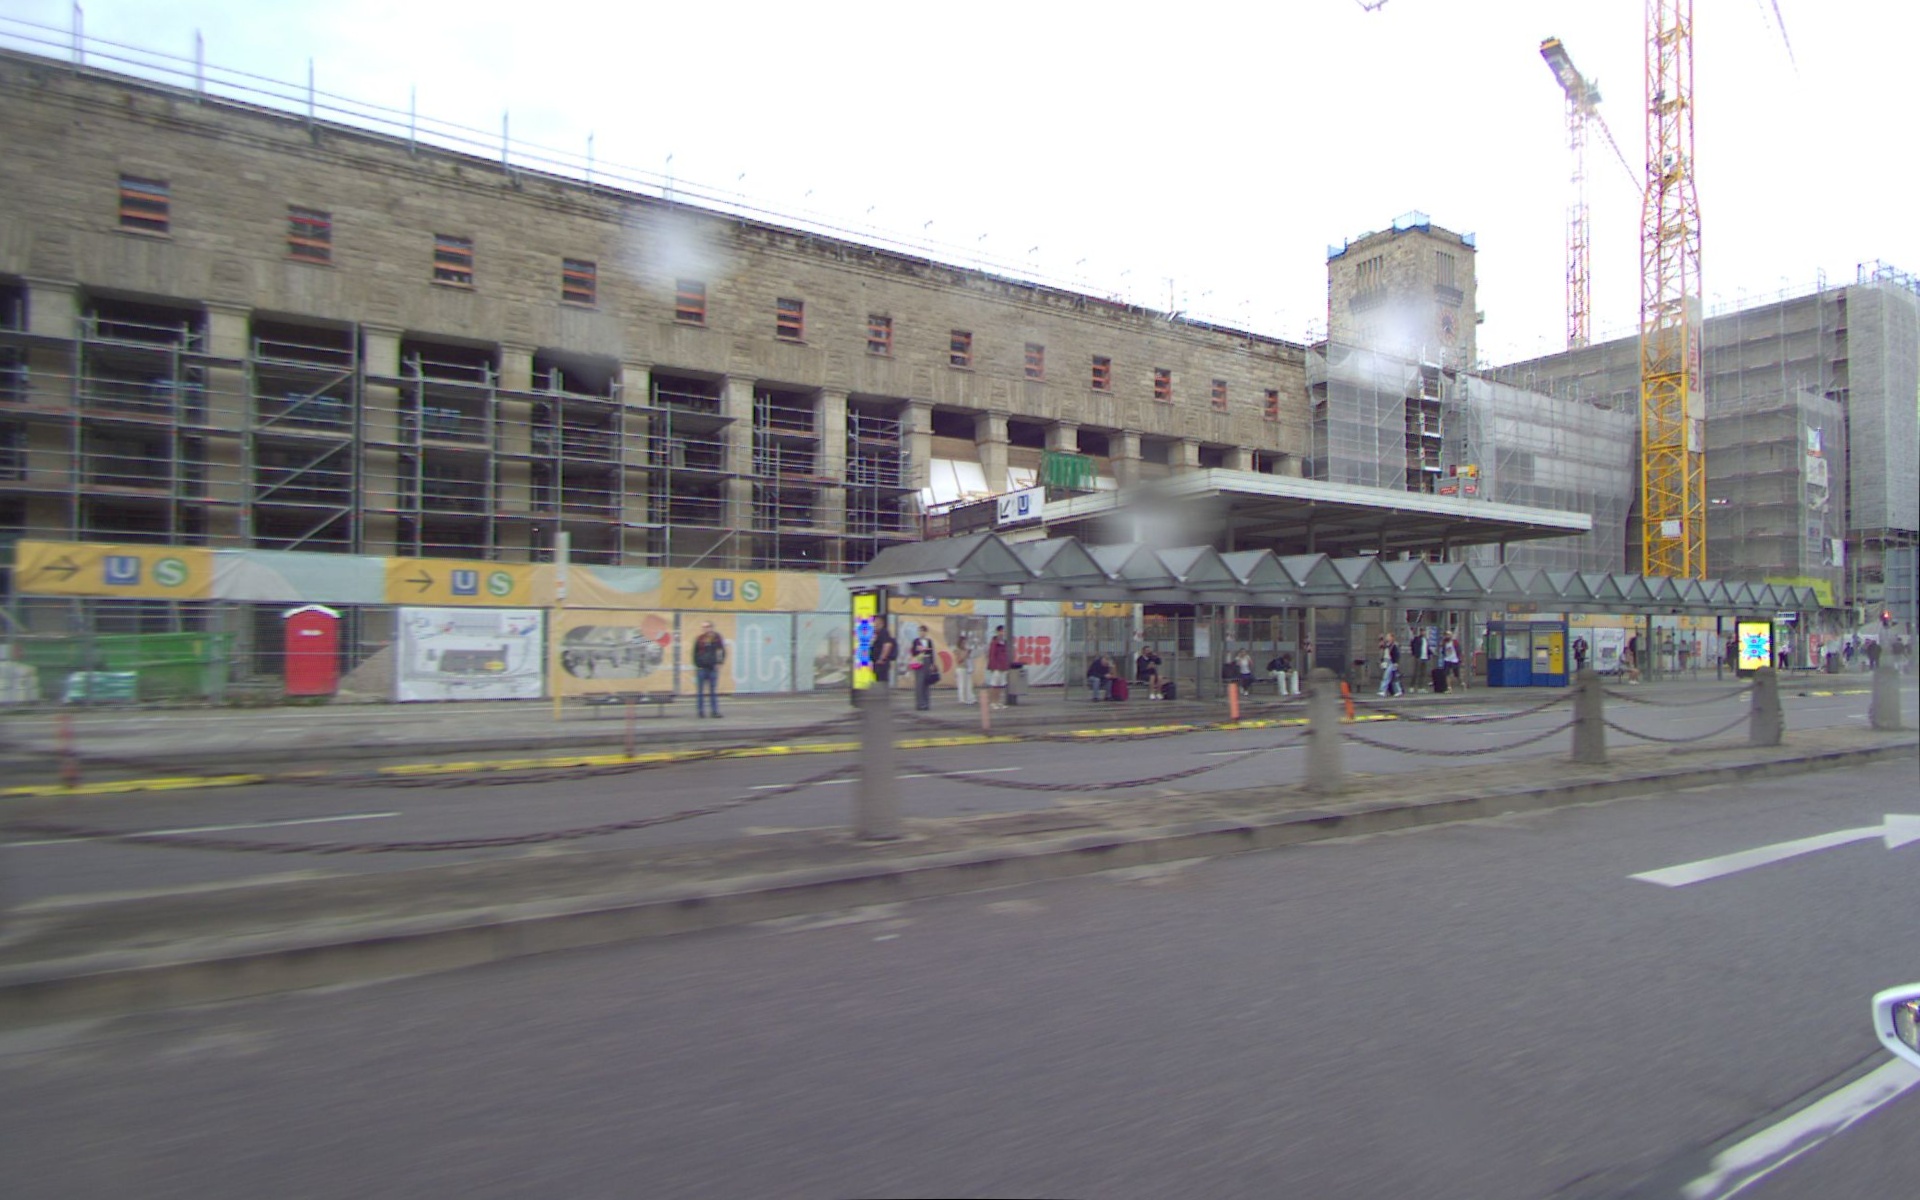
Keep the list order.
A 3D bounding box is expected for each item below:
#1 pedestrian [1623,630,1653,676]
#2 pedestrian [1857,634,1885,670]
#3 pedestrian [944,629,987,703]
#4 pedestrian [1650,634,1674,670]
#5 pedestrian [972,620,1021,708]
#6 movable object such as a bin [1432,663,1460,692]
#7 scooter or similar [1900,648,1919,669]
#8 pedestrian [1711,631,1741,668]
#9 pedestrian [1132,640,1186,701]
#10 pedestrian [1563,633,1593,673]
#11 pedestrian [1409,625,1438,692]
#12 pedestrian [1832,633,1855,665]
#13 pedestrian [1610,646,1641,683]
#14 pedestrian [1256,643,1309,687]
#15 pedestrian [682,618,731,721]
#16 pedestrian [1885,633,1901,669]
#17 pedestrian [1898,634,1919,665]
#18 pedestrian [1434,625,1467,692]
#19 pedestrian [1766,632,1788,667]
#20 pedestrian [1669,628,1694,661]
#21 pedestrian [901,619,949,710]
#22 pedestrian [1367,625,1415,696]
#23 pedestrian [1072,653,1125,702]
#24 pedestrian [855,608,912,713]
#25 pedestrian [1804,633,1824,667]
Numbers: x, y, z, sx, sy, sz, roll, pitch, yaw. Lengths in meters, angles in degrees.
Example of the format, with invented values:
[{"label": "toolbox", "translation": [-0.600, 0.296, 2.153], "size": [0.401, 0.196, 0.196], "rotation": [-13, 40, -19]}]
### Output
[{"label": "pedestrian", "translation": [27.395, 2.134, 40.586], "size": [0.689, 1.865, 0.745], "rotation": [1, -1, -11]}, {"label": "pedestrian", "translation": [48.187, 2.737, 53.124], "size": [0.861, 1.865, 0.704], "rotation": [1, -1, -3]}, {"label": "pedestrian", "translation": [0.131, 1.481, 22.835], "size": [0.799, 1.652, 0.551], "rotation": [1, -1, -40]}, {"label": "pedestrian", "translation": [34.344, 2.531, 49.165], "size": [0.695, 1.692, 0.797], "rotation": [1, -1, -36]}, {"label": "pedestrian", "translation": [0.772, 1.329, 21.220], "size": [0.741, 1.814, 0.718], "rotation": [1, -1, -37]}, {"label": "movable object such as a bin", "translation": [13.919, 2.223, 28.763], "size": [0.621, 0.800, 0.512], "rotation": [0, -2, 14]}, {"label": "scooter or similar", "translation": [50.278, 3.097, 52.799], "size": [1.215, 1.080, 0.460], "rotation": [1, -1, 3]}, {"label": "pedestrian", "translation": [39.143, 2.520, 51.314], "size": [1.033, 1.865, 0.853], "rotation": [1, 0, -32]}, {"label": "pedestrian", "translation": [4.950, 1.725, 25.005], "size": [0.822, 1.451, 1.049], "rotation": [1, -1, -32]}, {"label": "pedestrian", "translation": [27.359, 2.333, 44.456], "size": [0.828, 1.722, 0.873], "rotation": [1, -1, -33]}, {"label": "pedestrian", "translation": [13.226, 1.670, 28.696], "size": [0.664, 1.872, 0.558], "rotation": [0, -1, 14]}, {"label": "pedestrian", "translation": [52.031, 2.881, 59.152], "size": [0.857, 1.865, 0.799], "rotation": [1, -1, -28]}, {"label": "pedestrian", "translation": [24.423, 2.356, 36.862], "size": [0.797, 1.343, 0.695], "rotation": [1, -1, -33]}, {"label": "pedestrian", "translation": [8.881, 1.770, 27.633], "size": [1.043, 1.173, 0.945], "rotation": [1, -1, -31]}, {"label": "pedestrian", "translation": [-4.608, 1.238, 18.231], "size": [0.782, 1.814, 0.698], "rotation": [1, -1, -19]}, {"label": "pedestrian", "translation": [48.672, 2.660, 52.379], "size": [0.698, 1.865, 0.503], "rotation": [1, -1, -38]}, {"label": "pedestrian", "translation": [57.912, 3.012, 61.194], "size": [1.045, 1.865, 0.836], "rotation": [1, -1, -28]}, {"label": "pedestrian", "translation": [13.753, 1.627, 28.162], "size": [0.769, 1.814, 0.671], "rotation": [0, -1, 31]}, {"label": "pedestrian", "translation": [44.485, 2.681, 54.663], "size": [0.648, 1.865, 0.739], "rotation": [1, -1, -28]}, {"label": "pedestrian", "translation": [34.843, 2.128, 48.505], "size": [0.695, 1.568, 0.797], "rotation": [1, -1, -36]}, {"label": "pedestrian", "translation": [-0.718, 1.308, 20.642], "size": [0.799, 1.814, 0.551], "rotation": [1, -1, -40]}, {"label": "pedestrian", "translation": [11.252, 1.560, 26.235], "size": [0.848, 1.814, 0.773], "rotation": [1, -1, -24]}, {"label": "pedestrian", "translation": [3.294, 1.827, 23.884], "size": [0.916, 1.107, 0.839], "rotation": [1, -1, -33]}, {"label": "pedestrian", "translation": [-1.482, 1.155, 19.458], "size": [0.814, 1.984, 0.754], "rotation": [2, -1, -34]}, {"label": "pedestrian", "translation": [48.280, 2.812, 56.780], "size": [0.604, 1.865, 0.718], "rotation": [1, -1, -28]}]
